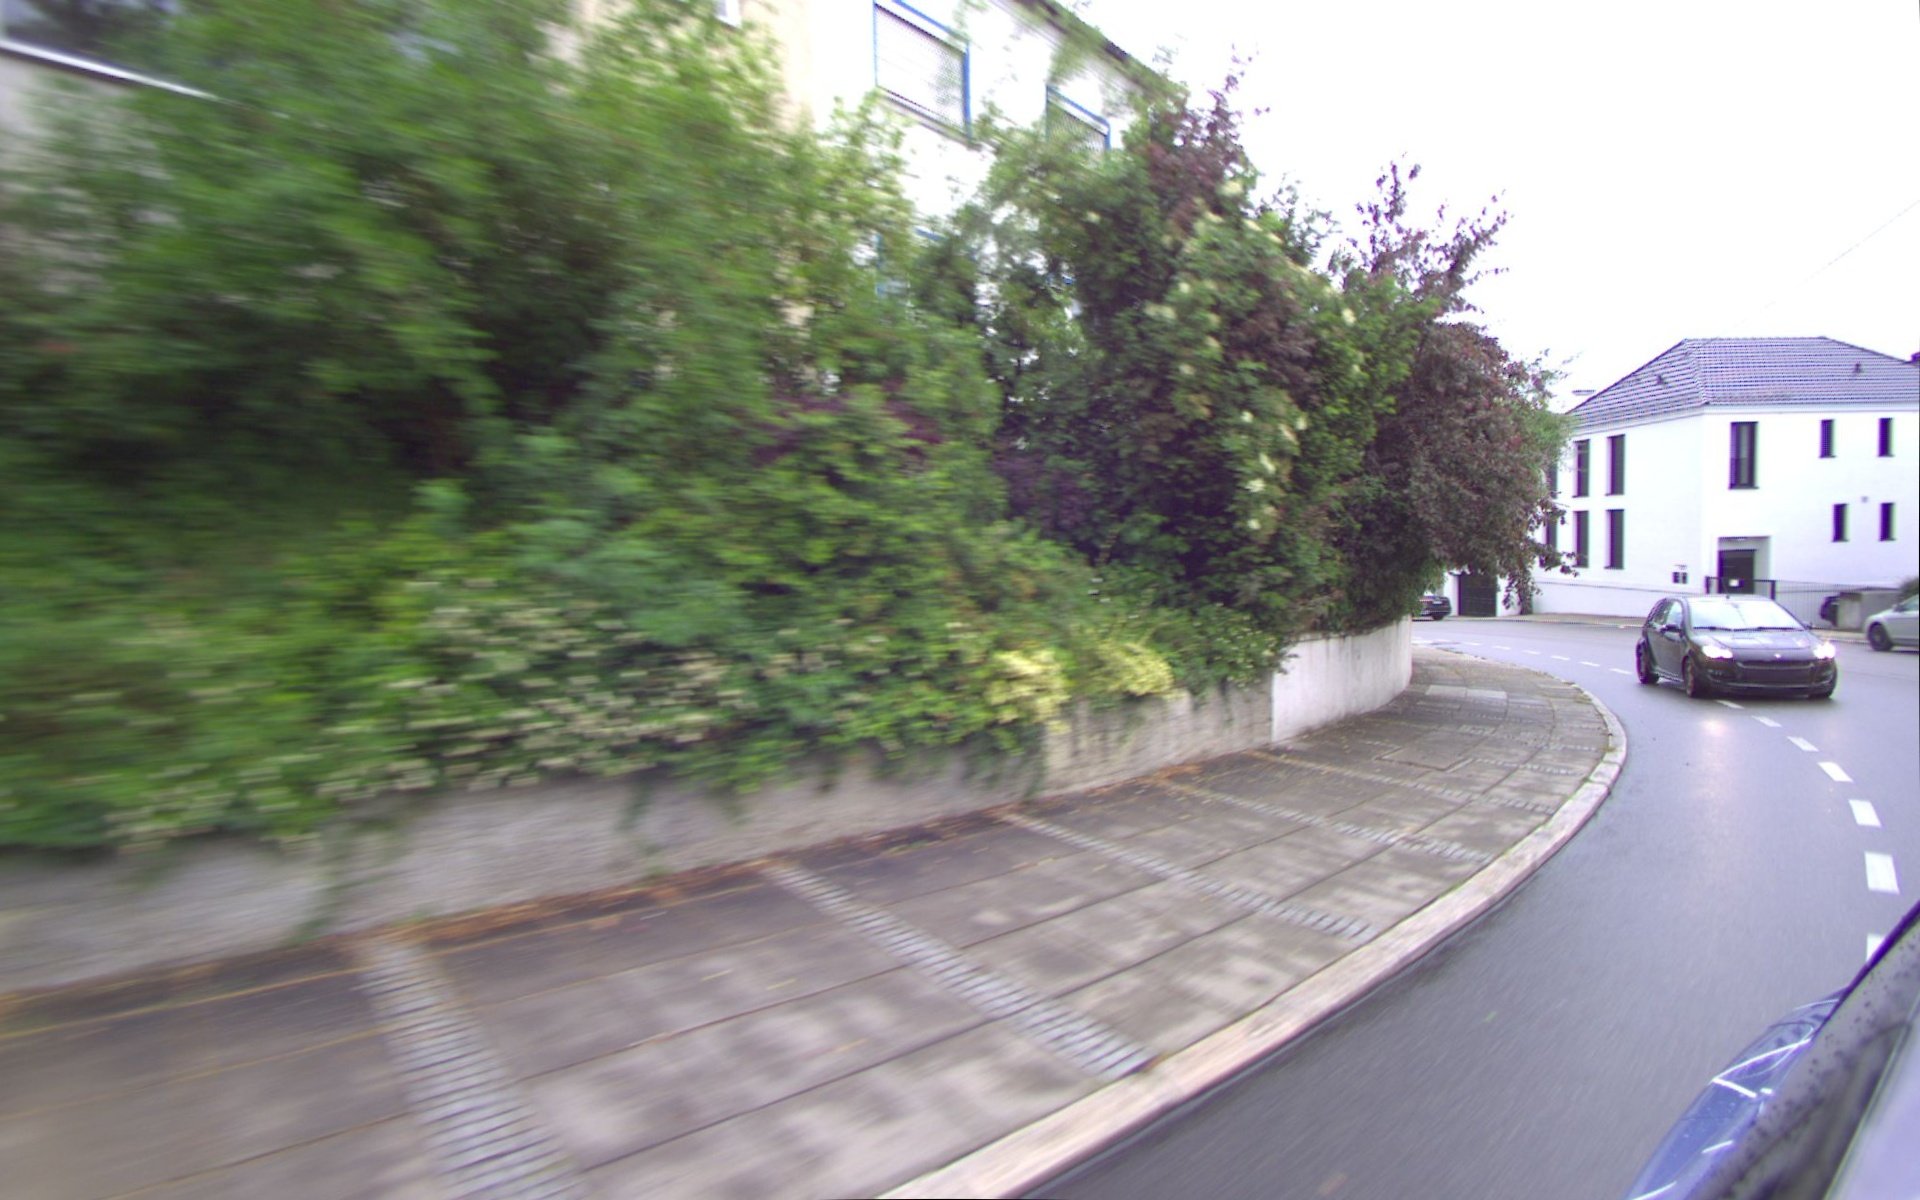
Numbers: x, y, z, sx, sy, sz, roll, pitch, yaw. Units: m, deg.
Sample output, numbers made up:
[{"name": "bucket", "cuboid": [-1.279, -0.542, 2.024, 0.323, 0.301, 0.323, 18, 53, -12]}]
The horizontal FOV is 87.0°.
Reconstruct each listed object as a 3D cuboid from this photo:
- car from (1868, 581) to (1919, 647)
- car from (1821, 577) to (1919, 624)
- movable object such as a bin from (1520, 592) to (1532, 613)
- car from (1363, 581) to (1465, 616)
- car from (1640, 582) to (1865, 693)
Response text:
[{"name": "car", "cuboid": [21.992, 0.313, 21.653, 1.812, 1.443, 4.218, 0, 1, 10]}, {"name": "car", "cuboid": [31.712, 0.083, 34.062, 3.923, 1.369, 1.744, 4, 3, -2]}, {"name": "movable object such as a bin", "cuboid": [25.361, 0.118, 45.341, 0.363, 0.924, 0.283, 0, 0, -10]}, {"name": "car", "cuboid": [21.044, -0.081, 47.144, 1.797, 1.504, 5.000, -2, 1, -10]}, {"name": "car", "cuboid": [11.739, 0.502, 15.278, 1.662, 1.431, 3.610, -3, -1, 22]}]
